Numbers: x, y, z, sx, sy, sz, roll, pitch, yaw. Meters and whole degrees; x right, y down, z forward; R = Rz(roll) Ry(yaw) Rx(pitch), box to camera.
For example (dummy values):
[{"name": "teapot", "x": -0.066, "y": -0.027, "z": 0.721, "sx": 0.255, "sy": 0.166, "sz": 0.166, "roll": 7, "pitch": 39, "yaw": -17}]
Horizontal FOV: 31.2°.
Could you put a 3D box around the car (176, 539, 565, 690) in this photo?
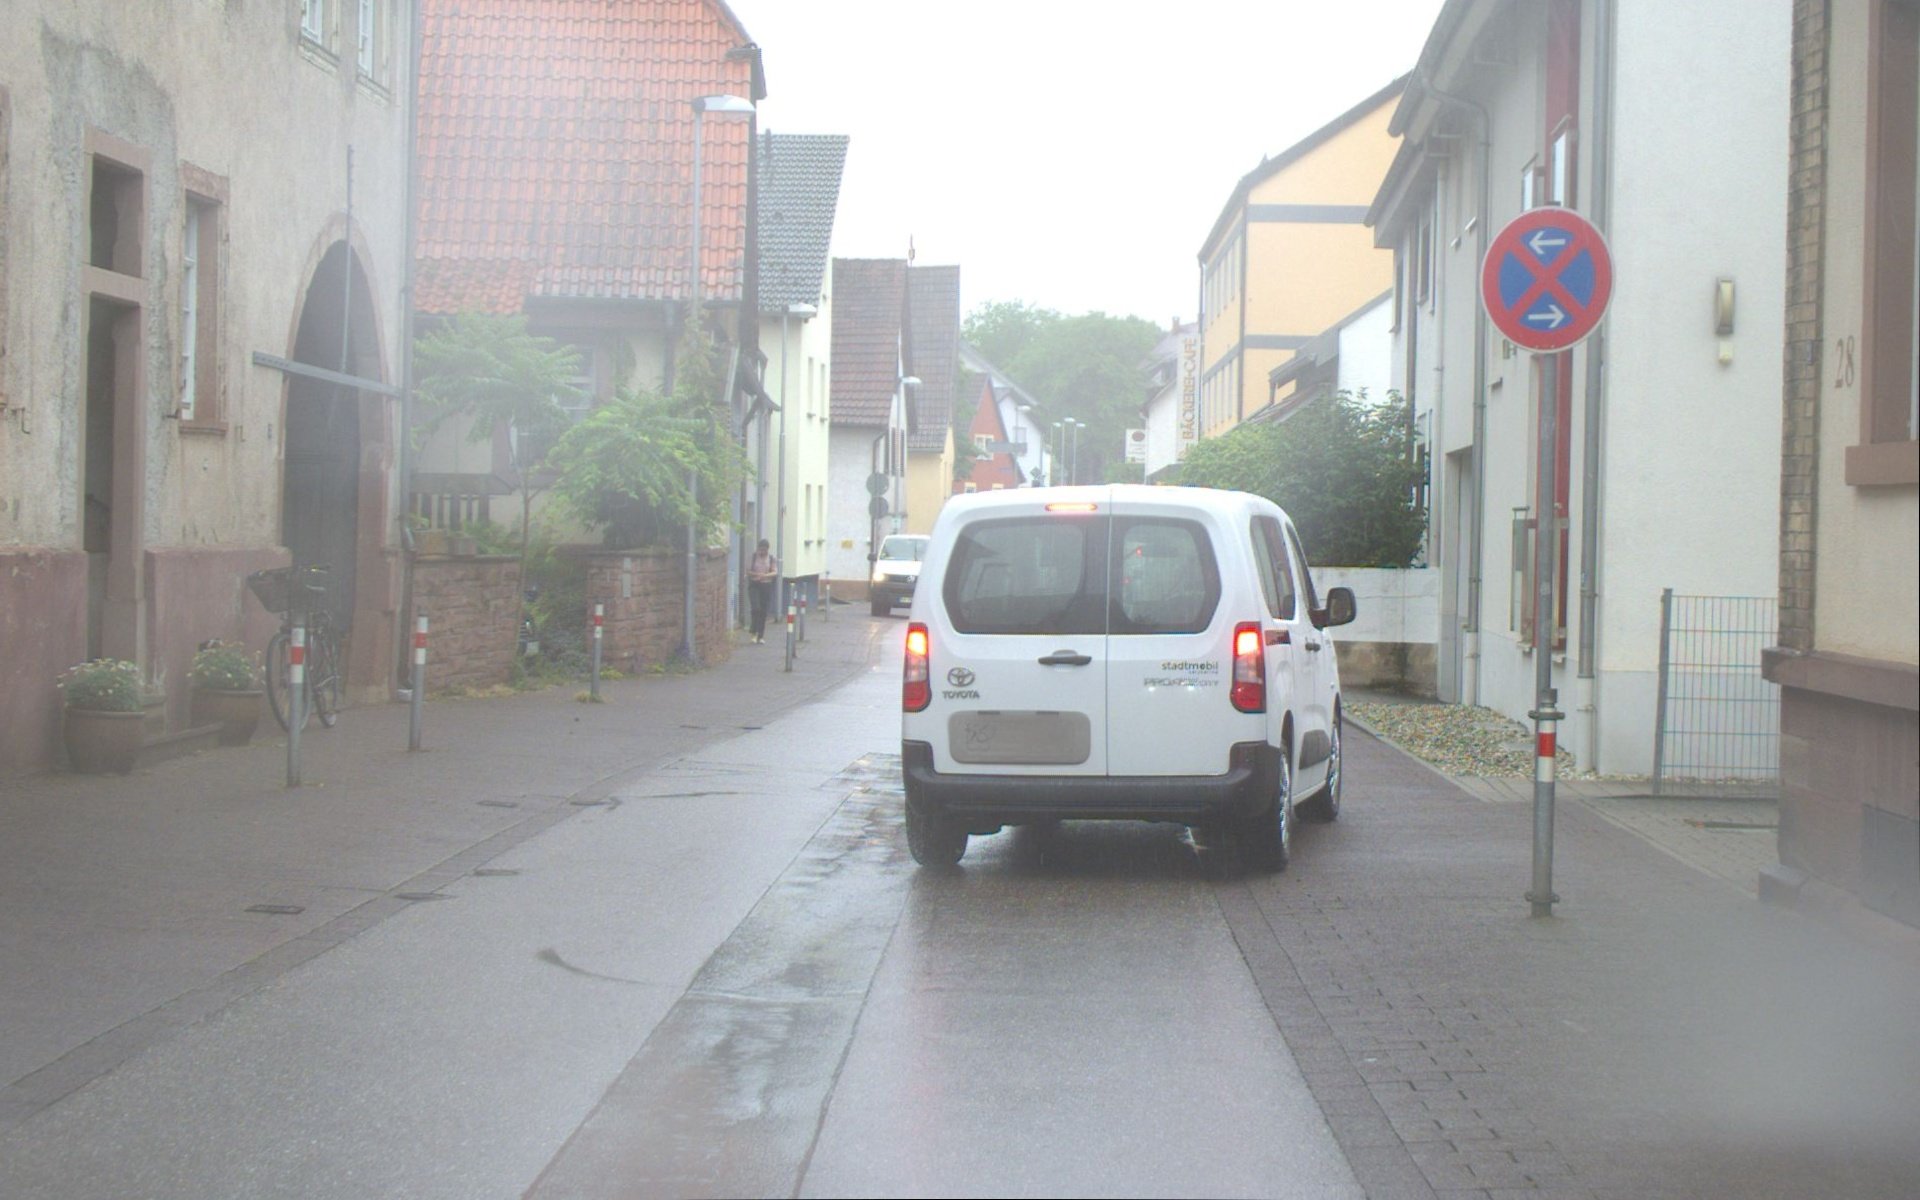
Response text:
[{"name": "car", "x": -5.880, "y": 0.127, "z": 34.498, "sx": 3.528, "sy": 1.371, "sz": 1.594, "roll": 2, "pitch": 1, "yaw": 5}]

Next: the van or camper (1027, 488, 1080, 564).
[{"name": "van or camper", "x": 3.810, "y": -2.974, "z": 139.824, "sx": 1.835, "sy": 2.915, "sz": 5.362, "roll": 3, "pitch": 0, "yaw": 3}]

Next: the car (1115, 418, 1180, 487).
[{"name": "car", "x": 6.187, "y": -4.852, "z": 113.297, "sx": 1.994, "sy": 2.007, "sz": 3.999, "roll": 3, "pitch": 0, "yaw": 3}]

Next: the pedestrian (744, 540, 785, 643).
[{"name": "pedestrian", "x": -2.931, "y": -0.129, "z": 51.525, "sx": 0.567, "sy": 1.525, "sz": 0.569, "roll": 0, "pitch": 0, "yaw": -7}]

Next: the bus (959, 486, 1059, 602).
[{"name": "bus", "x": 1.589, "y": -1.689, "z": 107.404, "sx": 2.793, "sy": 3.317, "sz": 8.177, "roll": 3, "pitch": 0, "yaw": 2}]

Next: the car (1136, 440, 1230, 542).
[{"name": "car", "x": 4.787, "y": -2.331, "z": 74.220, "sx": 1.827, "sy": 2.007, "sz": 3.694, "roll": 3, "pitch": 0, "yaw": 2}]

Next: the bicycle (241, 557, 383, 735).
[{"name": "bicycle", "x": -4.516, "y": 0.313, "z": 24.060, "sx": 0.483, "sy": 1.176, "sz": 1.835, "roll": 3, "pitch": 0, "yaw": 4}]

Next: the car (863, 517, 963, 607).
[{"name": "car", "x": -1.073, "y": -0.860, "z": 80.494, "sx": 1.892, "sy": 1.960, "sz": 4.722, "roll": 3, "pitch": 0, "yaw": 4}]

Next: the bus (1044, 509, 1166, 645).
[{"name": "bus", "x": 3.689, "y": -0.572, "z": 88.401, "sx": 2.793, "sy": 3.169, "sz": 8.177, "roll": 3, "pitch": 0, "yaw": 2}]

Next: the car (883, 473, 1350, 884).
[{"name": "car", "x": 0.916, "y": 0.341, "z": 17.344, "sx": 1.796, "sy": 1.812, "sz": 4.099, "roll": 0, "pitch": 0, "yaw": 11}]
